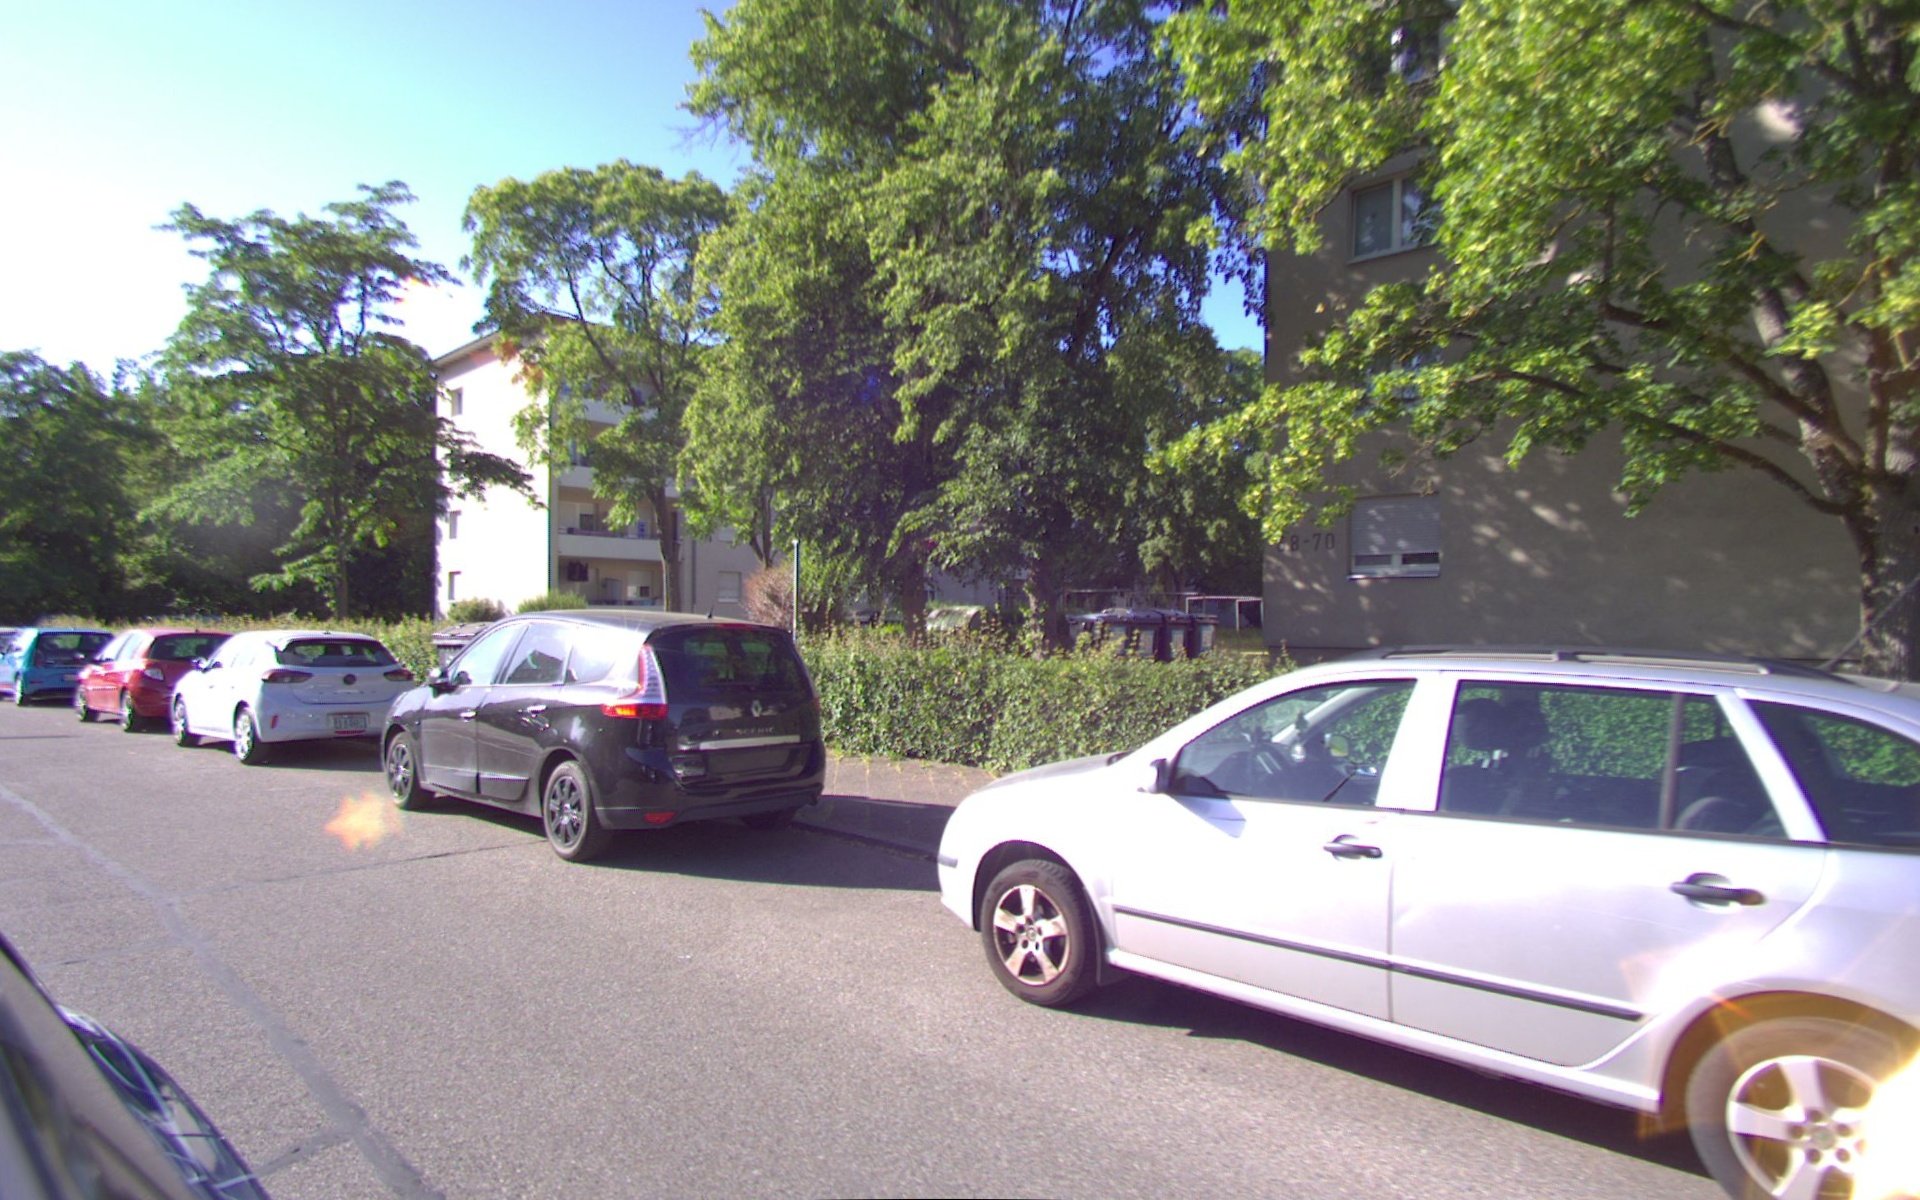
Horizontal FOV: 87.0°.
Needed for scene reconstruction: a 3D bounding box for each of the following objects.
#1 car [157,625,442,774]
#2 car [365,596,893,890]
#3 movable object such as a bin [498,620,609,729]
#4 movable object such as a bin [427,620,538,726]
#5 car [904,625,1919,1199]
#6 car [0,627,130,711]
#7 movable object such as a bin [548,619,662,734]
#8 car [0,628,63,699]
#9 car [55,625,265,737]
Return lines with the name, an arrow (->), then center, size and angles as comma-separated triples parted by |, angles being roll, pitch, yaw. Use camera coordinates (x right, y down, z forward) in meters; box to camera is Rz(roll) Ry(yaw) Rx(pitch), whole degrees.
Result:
car -> -8.024, 1.069, 12.172 | 3.937, 1.490, 1.788 | -1, -3, 40
car -> -2.720, 0.849, 7.729 | 4.430, 1.618, 1.787 | -1, -3, 41
movable object such as a bin -> -5.817, 1.031, 14.486 | 1.188, 1.425, 0.966 | -1, 1, 39
movable object such as a bin -> -7.060, 1.042, 14.974 | 1.263, 1.425, 0.995 | -1, 1, 39
car -> 1.878, 0.834, 3.696 | 4.149, 1.448, 1.735 | -1, -3, 42
car -> -17.764, 1.298, 19.850 | 3.101, 1.490, 1.637 | -1, -3, 38
movable object such as a bin -> -4.819, 0.999, 13.719 | 1.263, 1.425, 0.886 | -1, 1, 39
car -> -21.864, 1.389, 22.799 | 3.727, 1.490, 1.639 | -1, -3, 36
car -> -12.316, 1.153, 15.506 | 3.874, 1.490, 1.615 | -1, -3, 38
